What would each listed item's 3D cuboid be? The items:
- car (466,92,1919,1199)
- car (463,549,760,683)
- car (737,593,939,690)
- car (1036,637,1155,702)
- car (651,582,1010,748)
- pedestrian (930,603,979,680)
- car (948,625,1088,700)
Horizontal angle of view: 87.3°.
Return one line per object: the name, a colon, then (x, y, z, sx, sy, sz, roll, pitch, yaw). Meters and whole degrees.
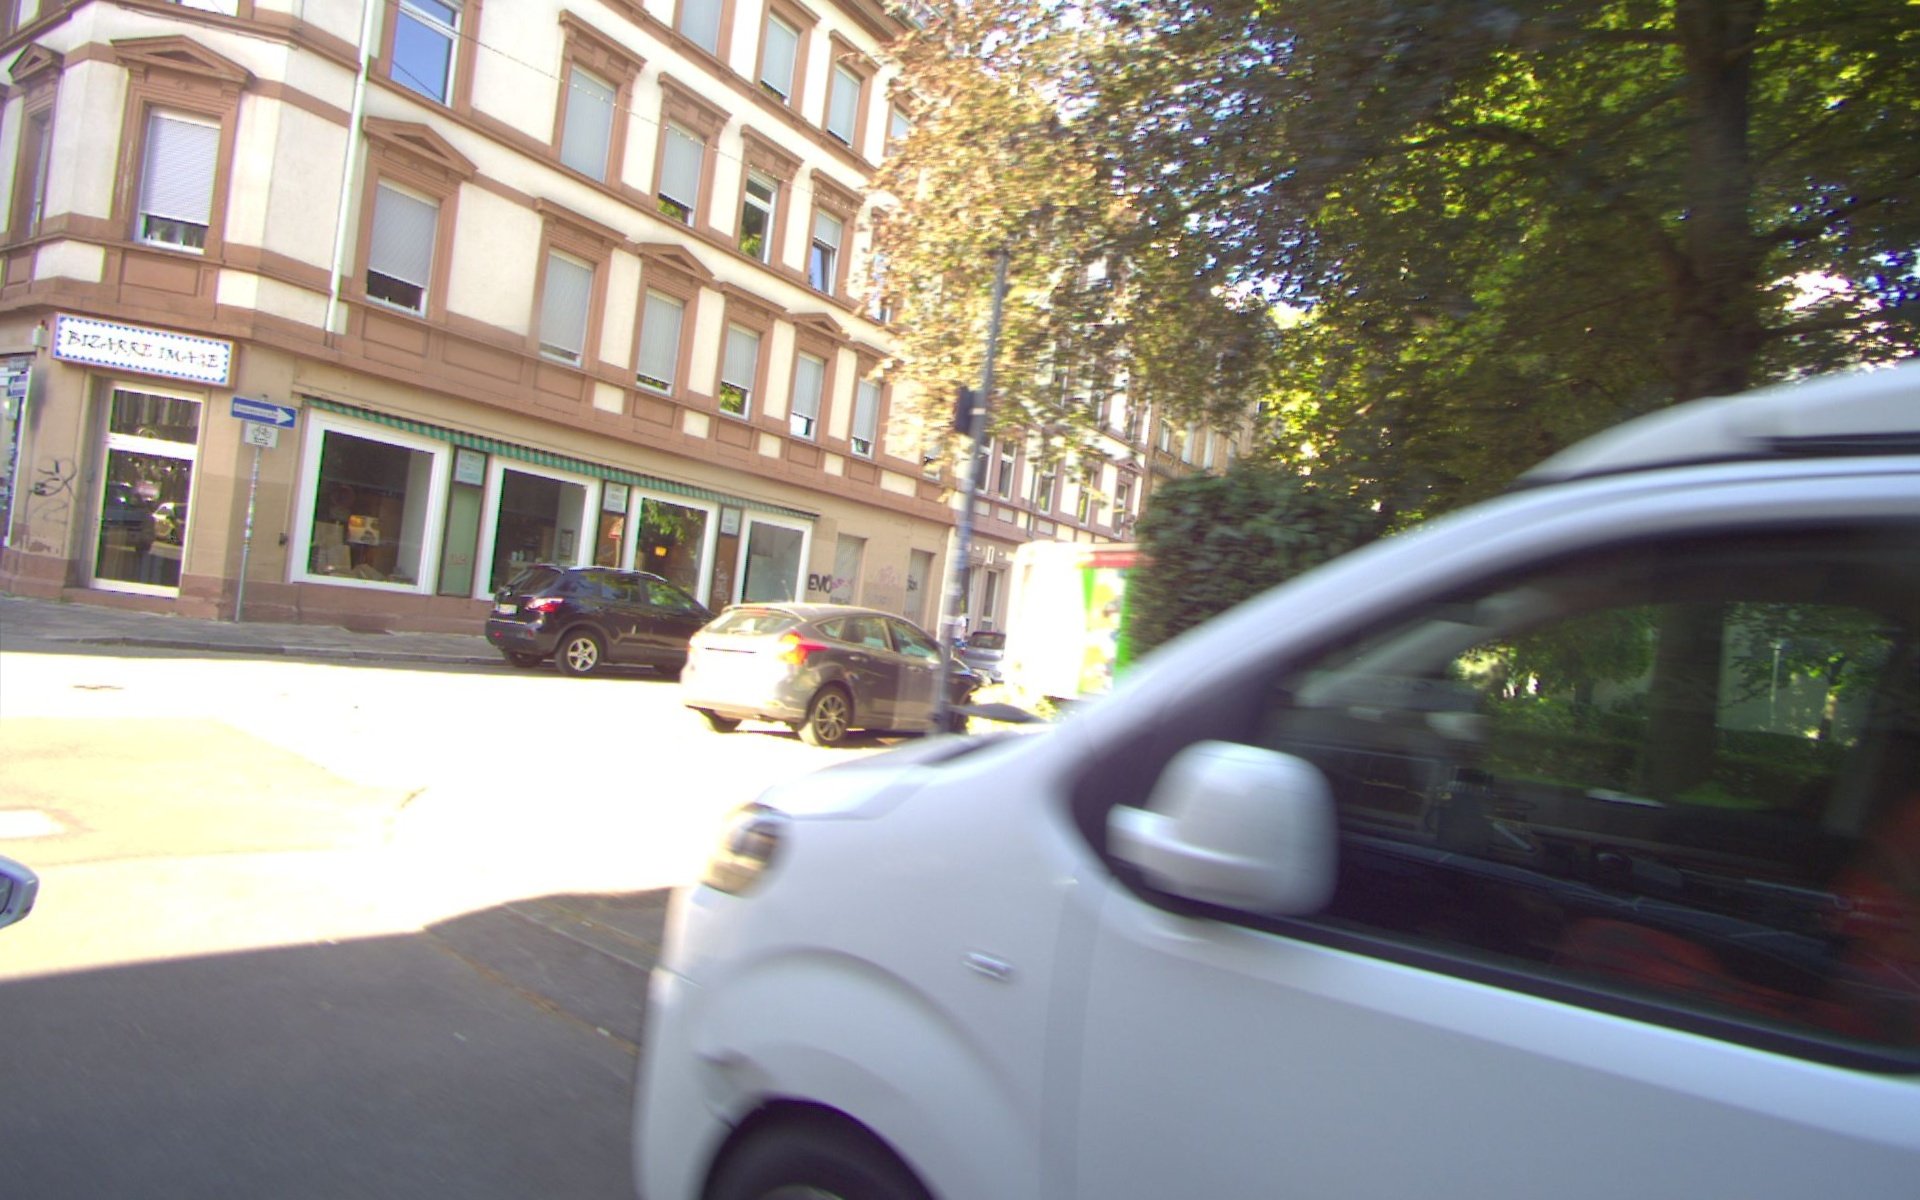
car: (1.567, 0.669, 1.463, 4.714, 2.024, 1.915, 7, 1, 34)
car: (-5.229, 0.317, 15.524, 1.736, 1.626, 3.919, 4, -3, 38)
car: (-2.301, 0.868, 19.806, 1.610, 1.489, 3.855, 4, -3, 38)
car: (3.878, 1.996, 28.364, 1.610, 1.489, 3.689, 4, -3, 38)
car: (-1.274, 0.802, 11.415, 1.770, 1.455, 3.923, 4, -3, 35)
pedestrian: (-0.146, 1.141, 27.380, 0.787, 1.943, 0.716, 10, 1, 31)
car: (1.477, 1.554, 24.583, 1.610, 1.489, 3.531, 4, -3, 38)
